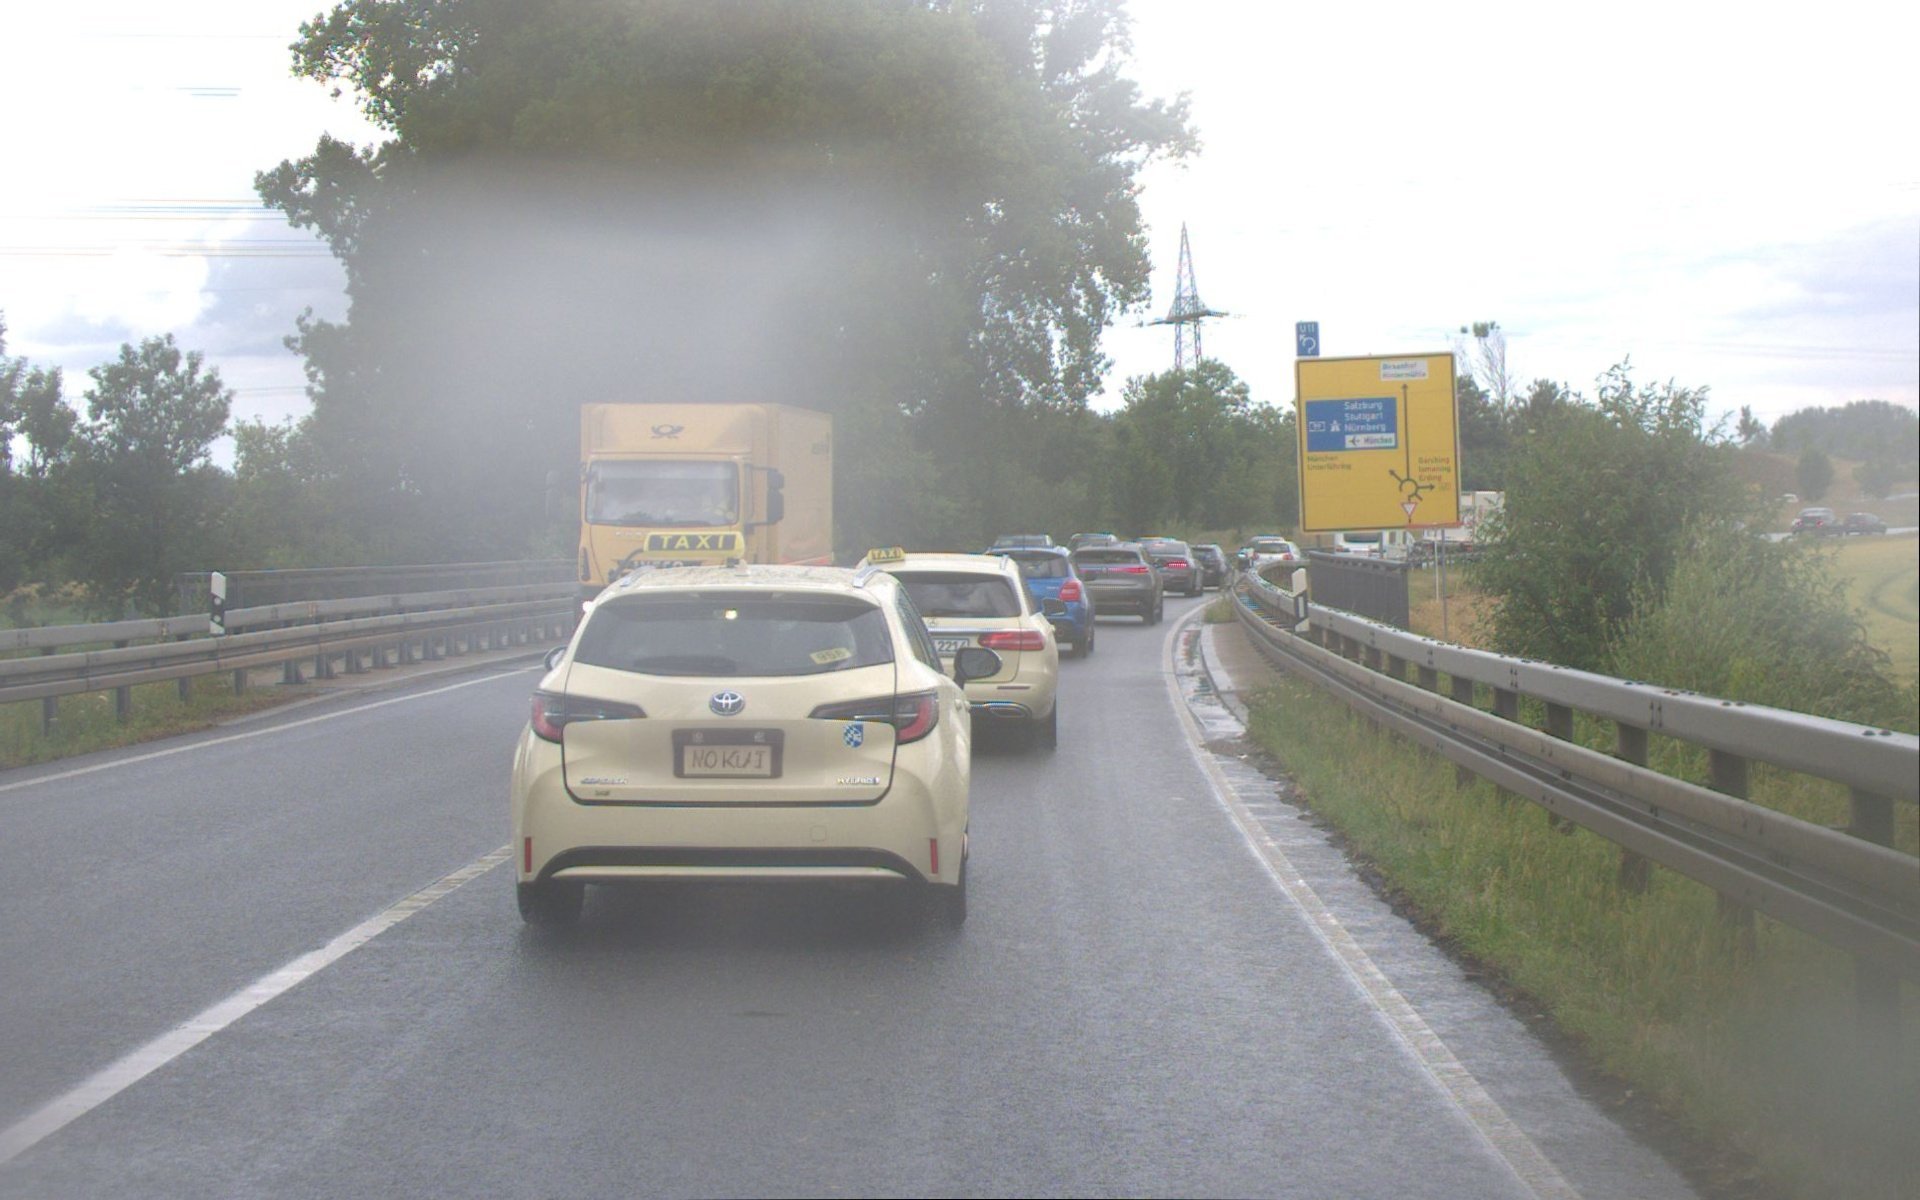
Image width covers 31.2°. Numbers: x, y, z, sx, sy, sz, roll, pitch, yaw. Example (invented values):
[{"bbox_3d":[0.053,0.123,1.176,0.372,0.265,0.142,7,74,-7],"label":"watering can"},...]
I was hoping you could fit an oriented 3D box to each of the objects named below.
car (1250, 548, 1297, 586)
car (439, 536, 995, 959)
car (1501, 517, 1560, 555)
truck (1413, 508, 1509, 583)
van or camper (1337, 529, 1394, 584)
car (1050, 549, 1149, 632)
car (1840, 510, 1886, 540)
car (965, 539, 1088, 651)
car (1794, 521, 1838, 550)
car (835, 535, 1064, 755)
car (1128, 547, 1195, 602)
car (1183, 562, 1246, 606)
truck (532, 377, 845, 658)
[{"bbox_3d":[11.101,-1.166,121.483,1.483,1.304,3.476,0,1,8],"label":"car"},{"bbox_3d":[-0.868,0.507,14.584,1.906,1.532,4.161,0,1,2],"label":"car"},{"bbox_3d":[30.932,-3.455,186.435,2.169,2.007,3.995,1,0,25],"label":"car"},{"bbox_3d":[24.352,-2.601,166.914,3.143,3.550,7.514,1,0,20],"label":"truck"},{"bbox_3d":[16.936,-1.814,143.349,1.994,2.246,3.998,1,0,12],"label":"van or camper"},{"bbox_3d":[2.565,-0.194,62.757,1.665,1.459,3.476,0,1,5],"label":"car"},{"bbox_3d":[62.277,-5.157,237.170,1.997,2.007,3.993,1,0,31],"label":"car"},{"bbox_3d":[0.919,-0.083,46.121,1.506,1.432,3.355,1,1,3],"label":"car"},{"bbox_3d":[57.427,-4.325,230.706,1.822,1.831,3.982,1,0,30],"label":"car"},{"bbox_3d":[-0.023,0.298,26.473,1.578,1.567,3.681,0,1,3],"label":"car"},{"bbox_3d":[5.364,-0.659,91.068,1.660,1.404,3.903,0,0,5],"label":"car"},{"bbox_3d":[7.735,-0.499,104.292,1.483,1.304,3.475,0,1,12],"label":"car"},{"bbox_3d":[-3.508,-1.072,46.980,2.771,3.417,9.186,1,1,5],"label":"truck"}]
